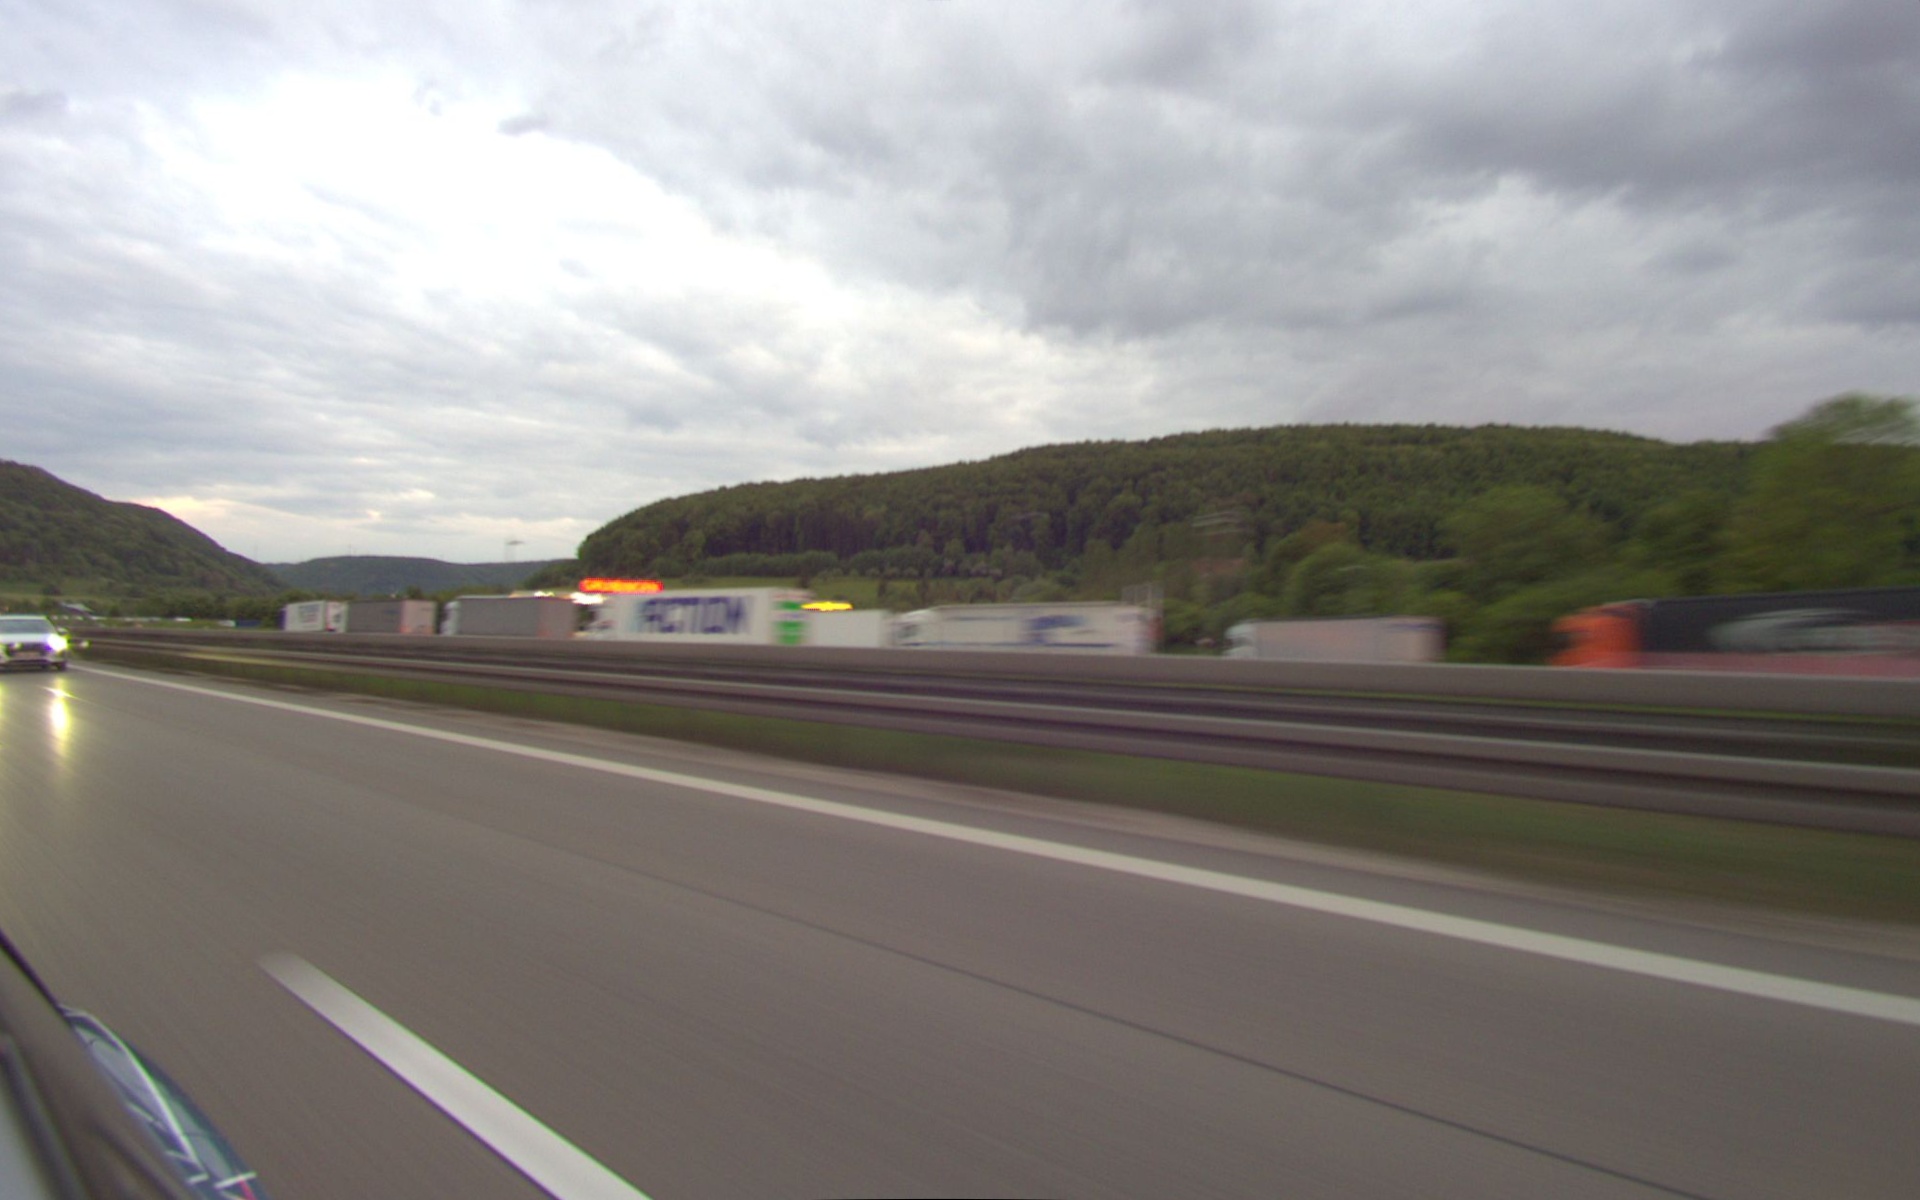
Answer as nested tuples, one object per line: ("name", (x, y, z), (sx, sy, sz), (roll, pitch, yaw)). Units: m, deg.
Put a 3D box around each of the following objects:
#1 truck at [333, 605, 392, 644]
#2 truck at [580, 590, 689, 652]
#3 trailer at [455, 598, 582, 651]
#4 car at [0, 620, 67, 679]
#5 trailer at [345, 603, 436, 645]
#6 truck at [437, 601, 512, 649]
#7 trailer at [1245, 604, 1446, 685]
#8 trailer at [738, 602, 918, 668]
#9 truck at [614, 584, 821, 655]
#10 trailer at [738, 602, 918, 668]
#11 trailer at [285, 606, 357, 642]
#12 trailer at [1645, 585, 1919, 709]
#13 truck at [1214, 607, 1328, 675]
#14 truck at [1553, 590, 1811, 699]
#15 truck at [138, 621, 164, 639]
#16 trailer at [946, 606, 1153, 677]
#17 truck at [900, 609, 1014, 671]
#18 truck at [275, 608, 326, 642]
("truck", (-54.942, 2.250, 92.958), (6.725, 3.451, 2.842), (-2, -2, 42))
("truck", (-19.099, 1.236, 59.218), (6.716, 3.451, 2.846), (-1, -1, 38))
("trailer", (-31.335, 1.758, 71.334), (13.847, 3.451, 2.842), (-2, -2, 42))
("car", (-26.454, 1.335, 28.170), (5.035, 1.512, 1.771), (-1, -1, 41))
("trailer", (-49.824, 2.103, 88.262), (13.568, 3.451, 2.842), (-2, -2, 42))
("truck", (-36.538, 1.894, 76.102), (6.725, 3.451, 2.842), (-2, -2, 43))
("trailer", (21.847, 2.474, 59.089), (3.235, 4.137, 14.484), (1, -2, -14))
("trailer", (-9.685, 2.407, 71.442), (15.942, 4.292, 2.986), (-1, -2, 42))
("truck", (-13.467, 1.108, 54.875), (13.767, 3.451, 2.847), (-1, -1, 37))
("trailer", (-9.678, 2.407, 71.449), (15.942, 4.292, 2.986), (-1, -2, 42))
("trailer", (-64.219, 2.443, 101.488), (13.223, 3.451, 2.842), (-2, -2, 43))
("trailer", (29.412, 1.426, 32.244), (3.018, 3.707, 13.384), (0, -1, -19))
("truck", (20.112, 2.630, 66.116), (3.235, 4.137, 8.238), (1, -2, -14))
("truck", (27.240, 1.596, 38.774), (2.962, 3.707, 7.702), (0, -1, -18))
("truck", (-145.123, 5.320, 181.476), (5.303, 3.112, 2.836), (-1, -2, 42))
("trailer", (4.811, 2.297, 58.176), (12.713, 3.707, 2.843), (-2, -2, 42))
("truck", (-0.256, 2.437, 62.811), (7.027, 3.668, 2.842), (-2, -2, 43))
("truck", (-69.222, 2.609, 106.151), (7.174, 3.401, 2.842), (-2, -2, 43))
